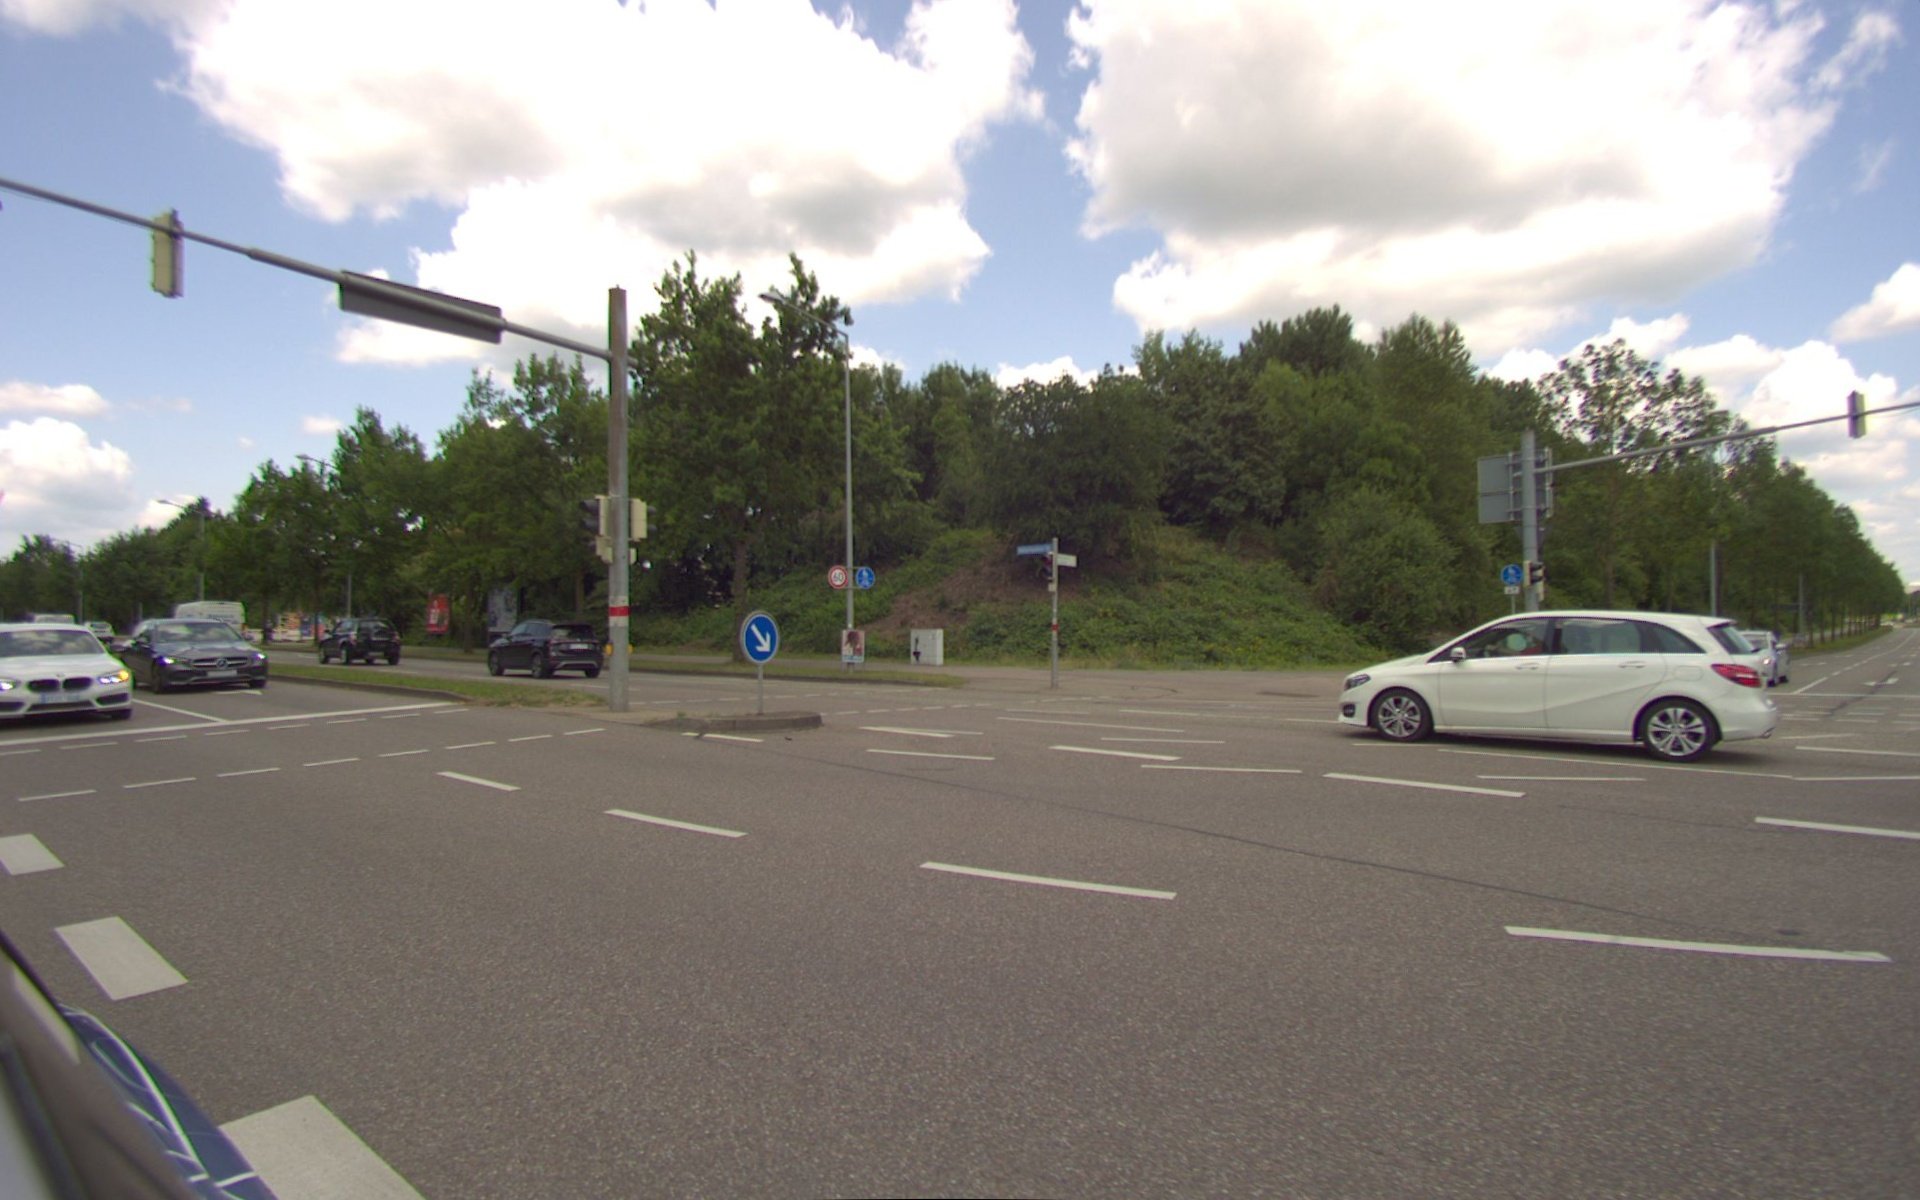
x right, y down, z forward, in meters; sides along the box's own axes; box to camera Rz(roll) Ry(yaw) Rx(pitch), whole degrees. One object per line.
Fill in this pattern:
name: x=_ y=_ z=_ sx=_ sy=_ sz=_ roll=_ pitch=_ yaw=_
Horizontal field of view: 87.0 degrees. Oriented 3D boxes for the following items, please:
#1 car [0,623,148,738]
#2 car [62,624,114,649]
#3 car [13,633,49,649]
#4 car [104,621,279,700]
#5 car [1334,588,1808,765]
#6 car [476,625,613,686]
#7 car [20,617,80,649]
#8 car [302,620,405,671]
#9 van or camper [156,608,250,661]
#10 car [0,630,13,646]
car: x=-13.798 y=1.122 z=15.073 sx=4.293 sy=1.425 sz=1.895 roll=-2 pitch=1 yaw=41
car: x=-64.391 y=2.667 z=74.714 sx=4.400 sy=1.815 sz=1.976 roll=-2 pitch=-2 yaw=36
car: x=-88.660 y=3.919 z=96.563 sx=4.411 sy=1.454 sz=1.895 roll=-2 pitch=-4 yaw=40
car: x=-16.148 y=1.201 z=21.158 sx=4.829 sy=1.426 sz=1.973 roll=-2 pitch=-1 yaw=41
car: x=6.795 y=0.773 z=11.563 sx=4.390 sy=1.644 sz=1.787 roll=-2 pitch=-2 yaw=41
car: x=-11.502 y=1.470 z=27.900 sx=3.998 sy=1.541 sz=1.906 roll=-1 pitch=-2 yaw=41
car: x=-59.657 y=2.172 z=66.327 sx=5.189 sy=1.979 sz=2.168 roll=-2 pitch=-2 yaw=40
car: x=-22.238 y=1.626 z=37.046 sx=4.217 sy=1.780 sz=1.973 roll=-1 pitch=-2 yaw=40
van or camper: x=-38.919 y=1.748 z=51.951 sx=7.058 sy=2.559 sz=2.328 roll=-2 pitch=-1 yaw=40
car: x=-87.206 y=3.418 z=91.439 sx=5.022 sy=1.442 sz=1.972 roll=-2 pitch=-2 yaw=41
